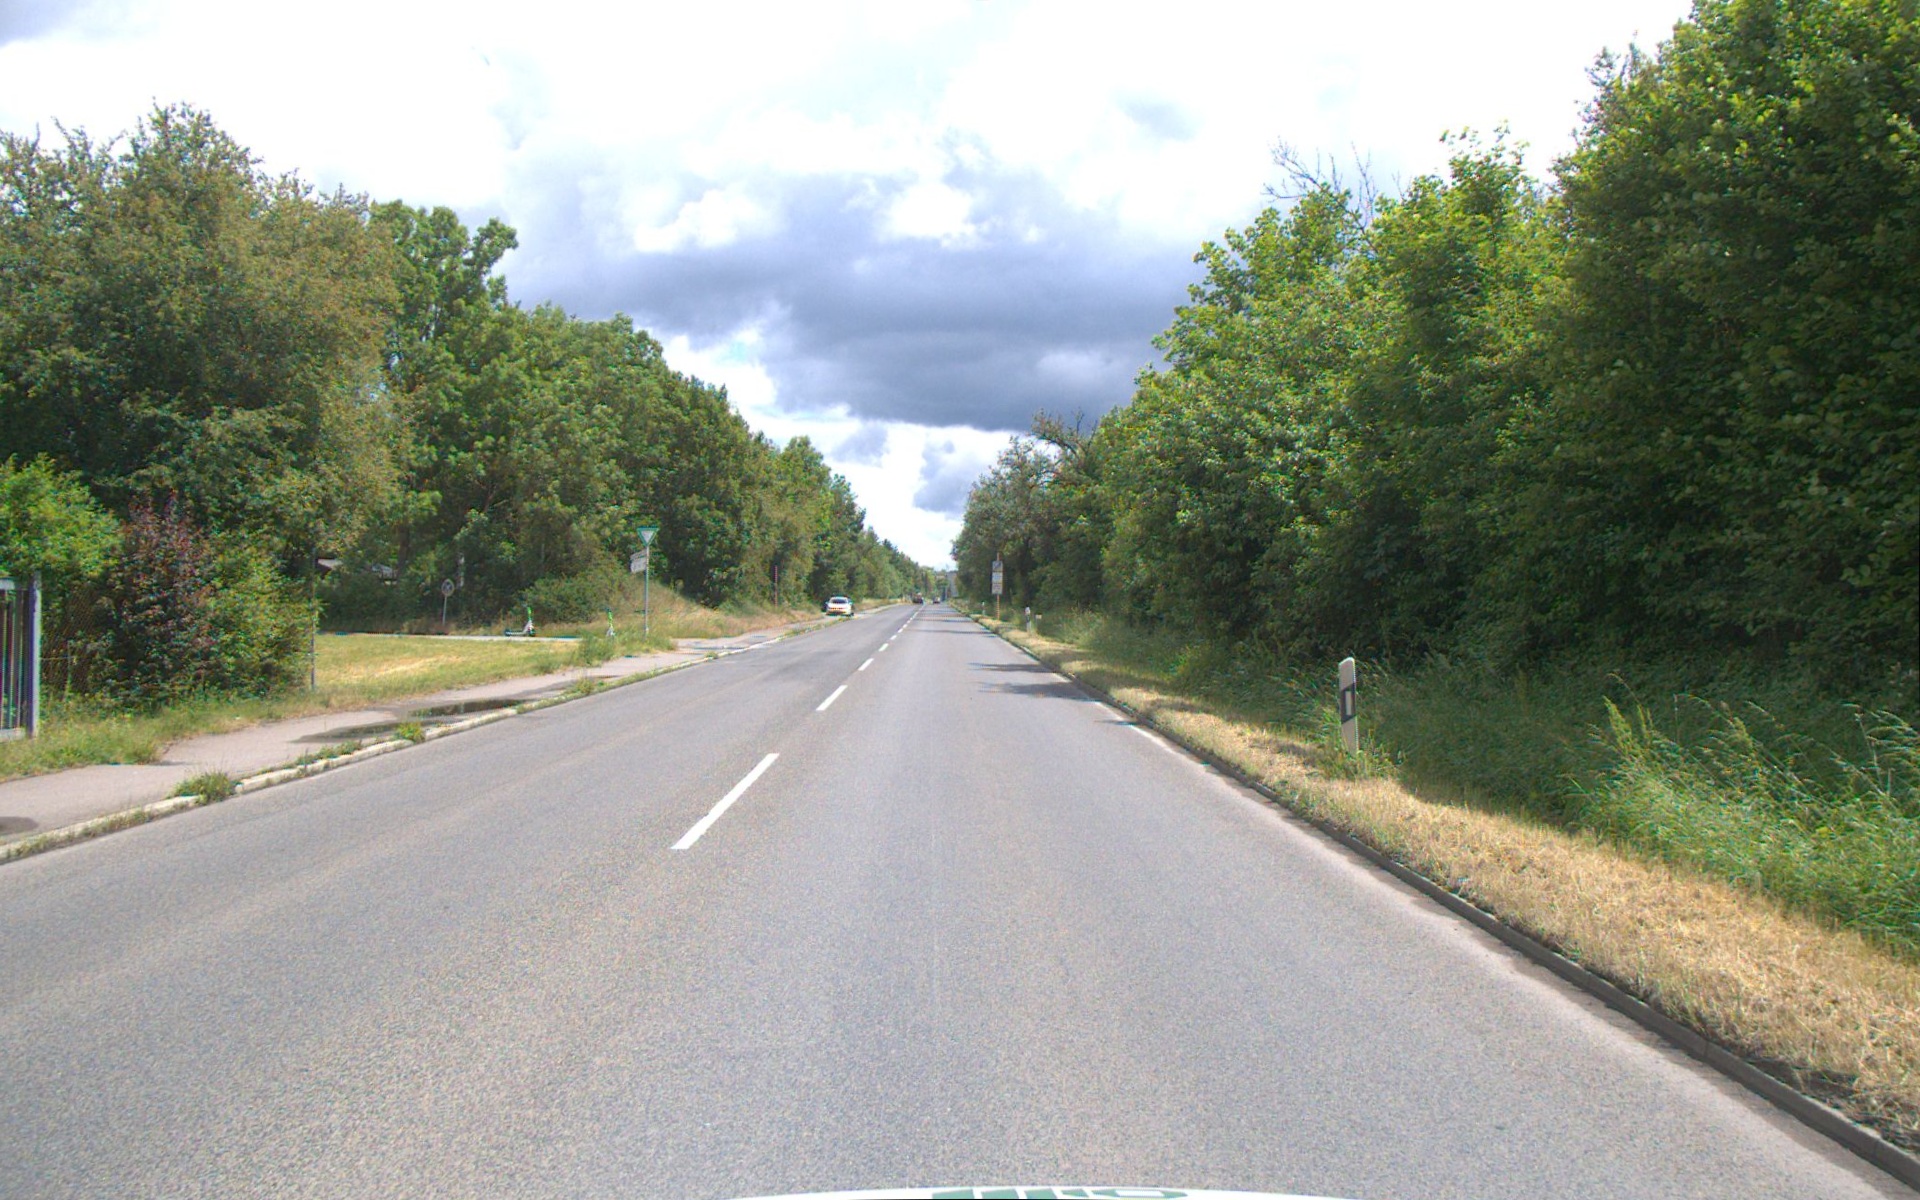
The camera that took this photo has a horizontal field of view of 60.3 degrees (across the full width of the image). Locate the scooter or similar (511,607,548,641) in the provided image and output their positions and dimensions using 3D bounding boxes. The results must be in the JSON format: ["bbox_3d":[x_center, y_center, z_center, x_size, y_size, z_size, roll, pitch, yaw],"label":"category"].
[{"bbox_3d":[-15.407,0.859,59.203,1.217,1.189,0.407,1,0,12],"label":"scooter or similar"}]

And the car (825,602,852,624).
[{"bbox_3d":[-9.299,1.017,126.796,1.761,1.570,3.954,0,-1,-1],"label":"car"}]

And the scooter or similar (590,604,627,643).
[{"bbox_3d":[-11.110,0.742,52.219,1.326,1.189,0.405,1,0,40],"label":"scooter or similar"}]
